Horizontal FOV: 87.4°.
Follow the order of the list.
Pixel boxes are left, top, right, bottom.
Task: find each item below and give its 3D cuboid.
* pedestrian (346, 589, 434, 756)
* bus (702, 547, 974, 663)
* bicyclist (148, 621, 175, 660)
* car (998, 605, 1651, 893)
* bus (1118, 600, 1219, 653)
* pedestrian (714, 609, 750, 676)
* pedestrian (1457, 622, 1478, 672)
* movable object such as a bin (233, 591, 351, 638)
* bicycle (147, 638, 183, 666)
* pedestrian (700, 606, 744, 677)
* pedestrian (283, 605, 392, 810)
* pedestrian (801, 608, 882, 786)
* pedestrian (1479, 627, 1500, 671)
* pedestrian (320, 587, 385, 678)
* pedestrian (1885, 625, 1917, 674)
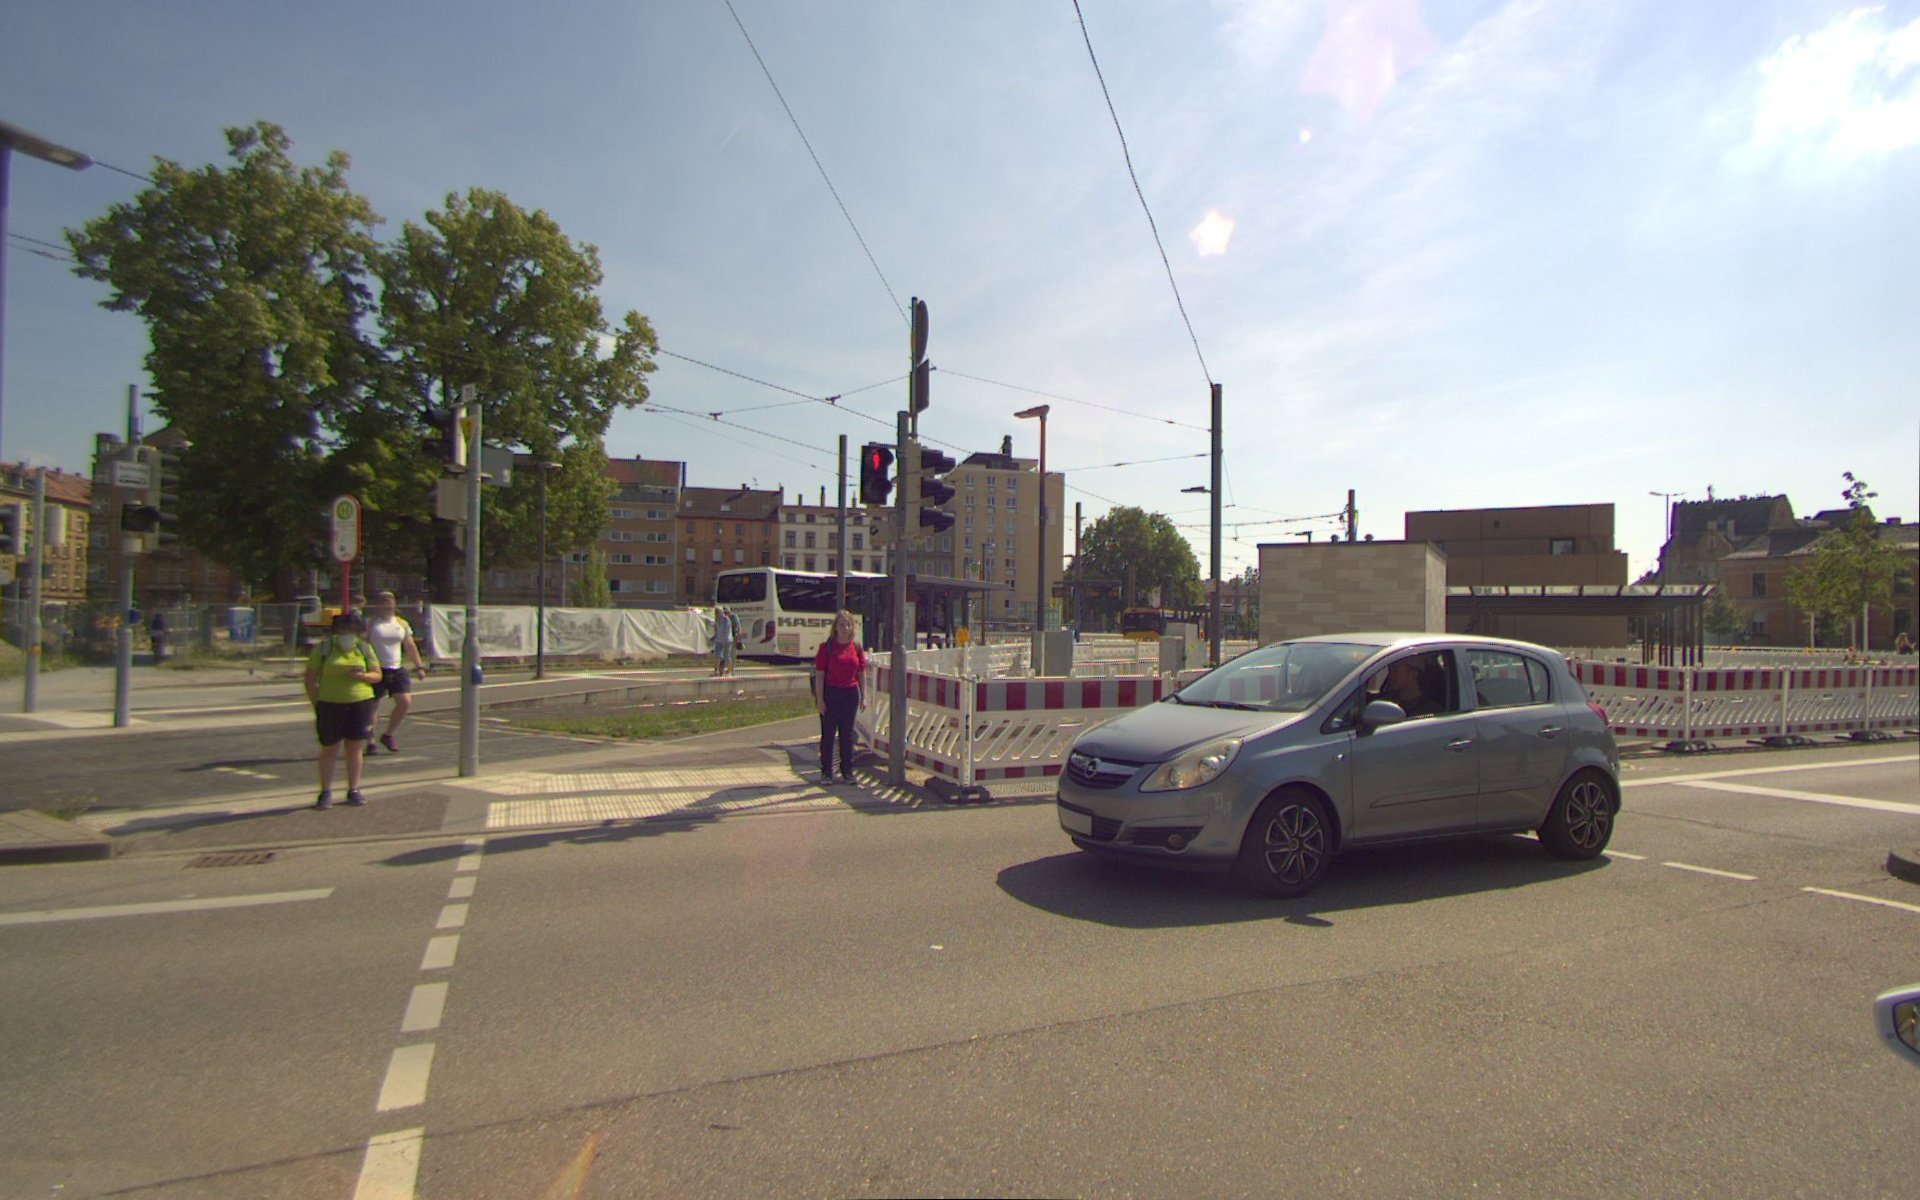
[{"bbox_3d":[-6.571,0.811,11.576,0.832,1.836,0.643,1,-1,-33],"label":"pedestrian"},{"bbox_3d":[-3.840,0.366,36.909,2.812,3.535,12.634,-1,-2,31],"label":"bus"},{"bbox_3d":[-28.505,1.441,35.858,0.616,1.378,1.157,2,-2,-45],"label":"bicyclist"},{"bbox_3d":[2.404,0.828,6.660,3.944,1.430,1.790,1,-3,-24],"label":"car"},{"bbox_3d":[14.448,1.872,68.397,2.812,3.324,12.634,0,-2,31],"label":"bus"},{"bbox_3d":[-5.660,1.036,24.959,0.675,1.637,0.586,0,-1,12],"label":"pedestrian"},{"bbox_3d":[19.881,1.839,39.372,0.594,1.940,0.441,1,-2,-3],"label":"pedestrian"},{"bbox_3d":[-45.803,1.023,69.102,6.475,3.049,2.564,2,-2,-30],"label":"movable object such as a bin"},{"bbox_3d":[-28.158,1.825,35.571,0.757,0.935,2.043,2,-2,-44],"label":"bicycle"},{"bbox_3d":[-5.590,0.954,23.594,0.778,1.637,0.662,0,-1,12],"label":"pedestrian"},{"bbox_3d":[-4.964,0.837,8.035,0.658,1.564,0.421,1,2,-23],"label":"pedestrian"},{"bbox_3d":[-1.128,0.906,9.553,0.676,1.637,0.349,1,-2,-23],"label":"pedestrian"},{"bbox_3d":[21.049,1.964,39.946,0.558,1.731,0.540,1,-2,-3],"label":"pedestrian"},{"bbox_3d":[-11.843,0.627,19.609,0.547,1.735,0.936,0,-1,19],"label":"pedestrian"},{"bbox_3d":[34.787,1.836,37.117,1.102,1.775,0.730,5,-4,-40],"label":"pedestrian"}]
